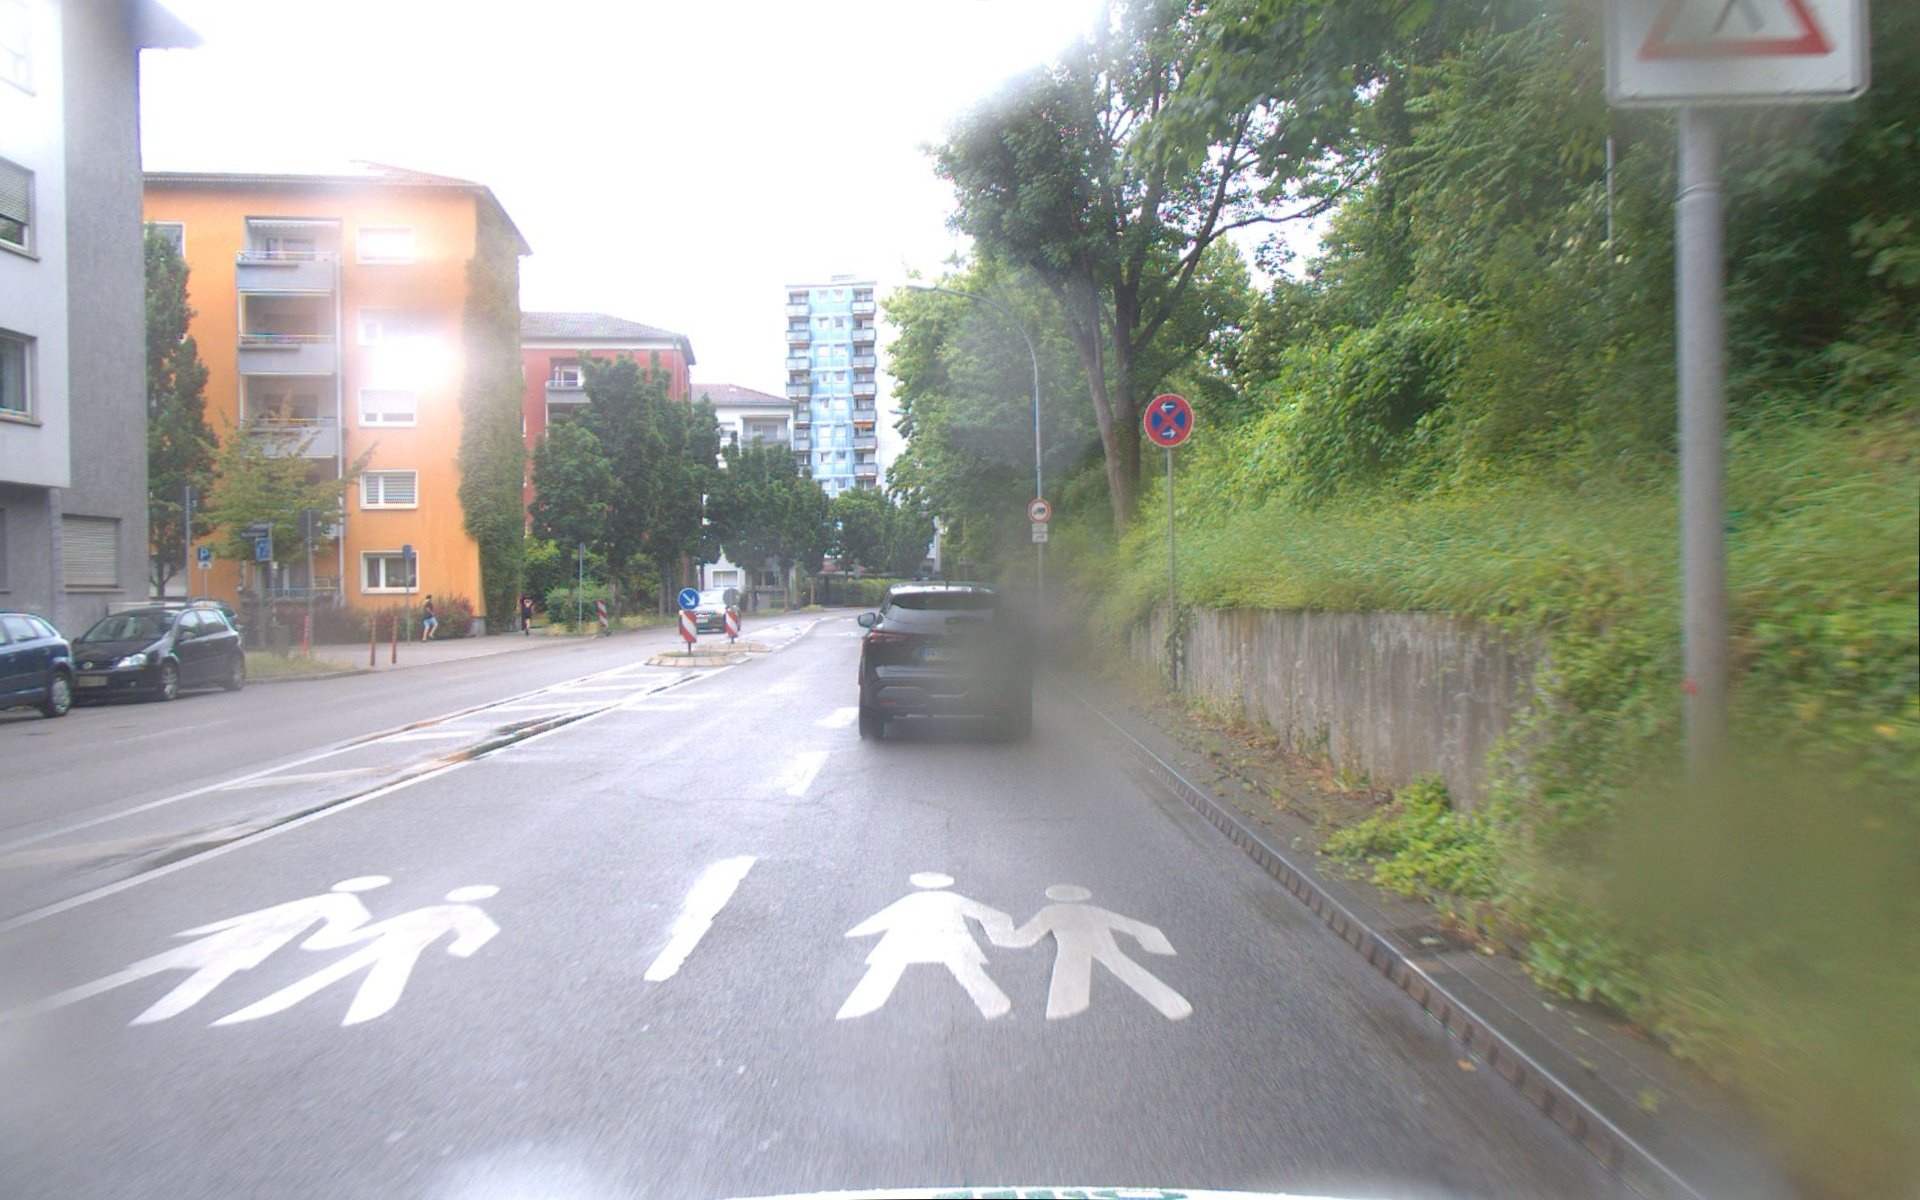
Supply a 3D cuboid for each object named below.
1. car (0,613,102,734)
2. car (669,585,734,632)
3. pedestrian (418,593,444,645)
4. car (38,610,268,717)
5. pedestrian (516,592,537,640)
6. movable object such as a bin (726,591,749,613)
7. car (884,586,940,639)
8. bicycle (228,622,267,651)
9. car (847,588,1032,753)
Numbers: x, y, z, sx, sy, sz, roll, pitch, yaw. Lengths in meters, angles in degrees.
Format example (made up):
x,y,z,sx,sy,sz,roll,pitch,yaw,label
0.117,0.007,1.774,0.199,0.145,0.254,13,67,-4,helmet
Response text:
x,y,z,sx,sy,sz,roll,pitch,yaw,label
-12.806,0.988,20.989,1.647,1.474,4.274,-4,1,-2,car
-9.166,0.277,58.960,1.752,1.530,4.646,-2,1,-3,car
-17.000,0.618,53.188,0.574,1.632,0.661,-2,0,-1,pedestrian
-12.970,0.961,26.896,1.678,1.450,4.321,-3,1,-2,car
-15.584,0.571,59.487,0.597,1.703,0.594,-1,0,-5,pedestrian
-14.652,0.132,108.956,1.294,1.385,1.258,-1,0,0,movable object such as a bin
-1.665,0.404,57.123,1.849,1.741,3.998,-1,0,-2,car
-20.788,1.060,48.277,0.455,0.762,1.546,-1,0,0,bicycle
-0.285,0.677,18.228,1.808,1.610,3.998,0,0,-3,car
